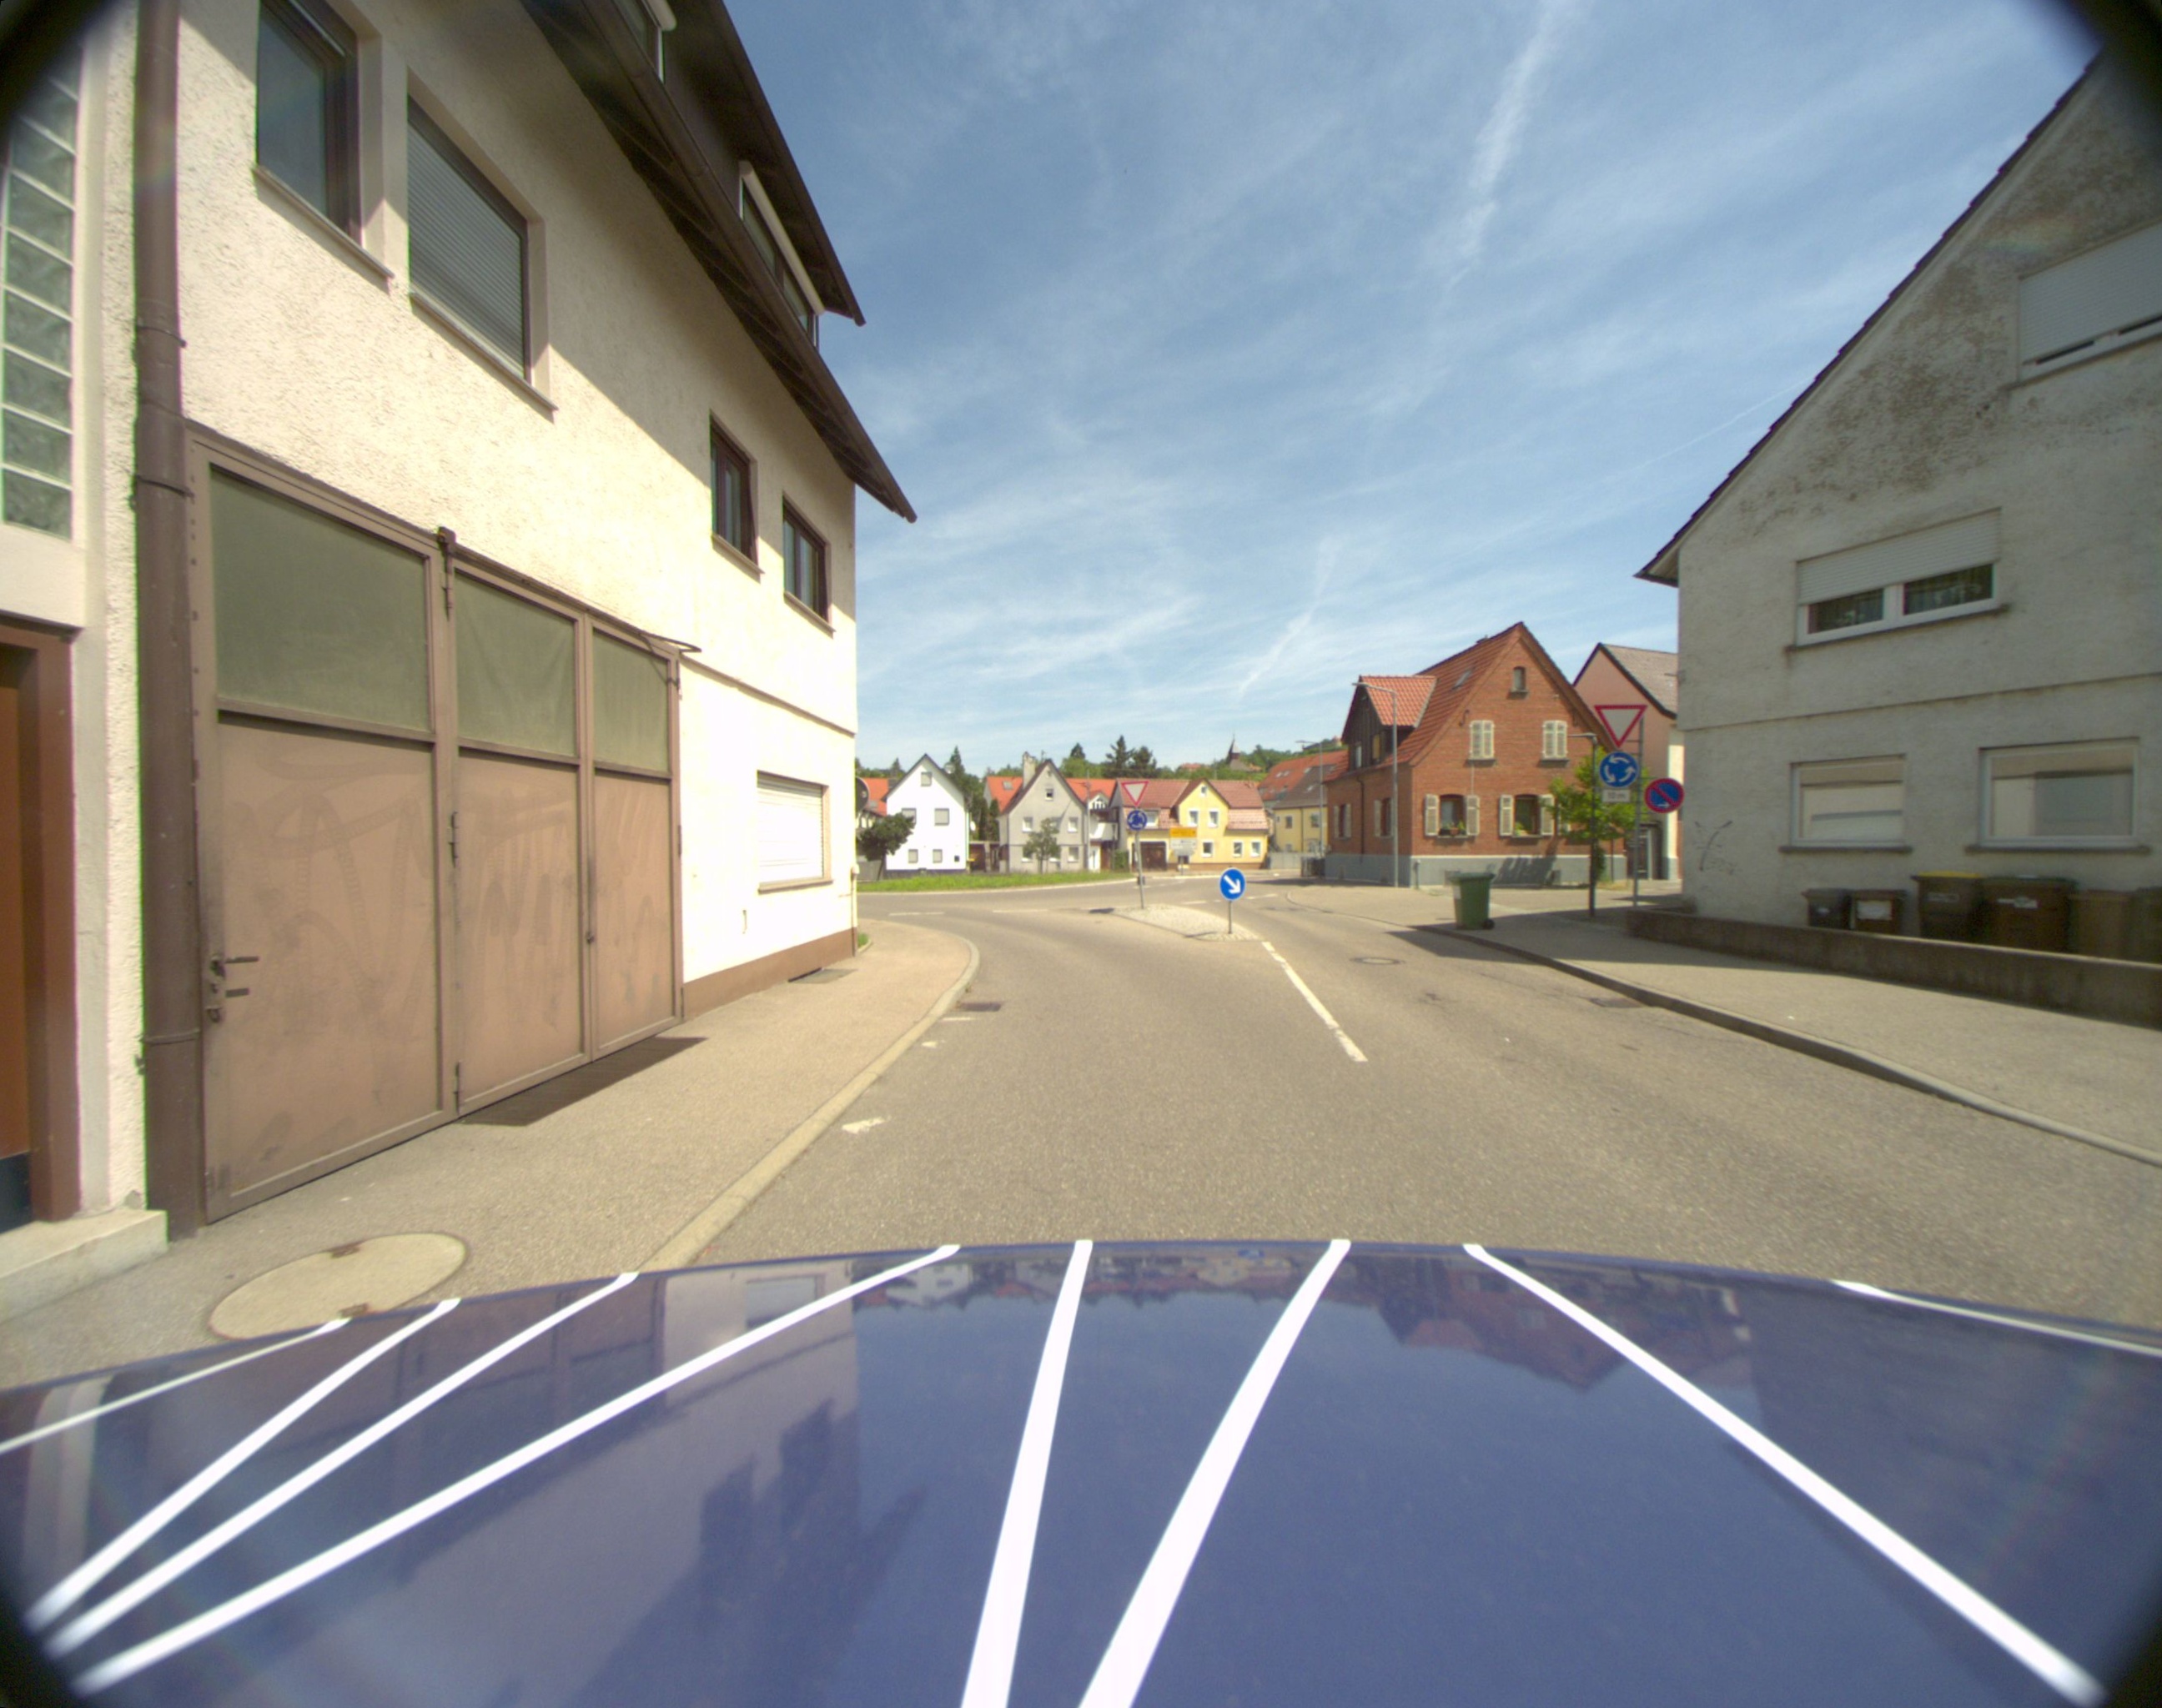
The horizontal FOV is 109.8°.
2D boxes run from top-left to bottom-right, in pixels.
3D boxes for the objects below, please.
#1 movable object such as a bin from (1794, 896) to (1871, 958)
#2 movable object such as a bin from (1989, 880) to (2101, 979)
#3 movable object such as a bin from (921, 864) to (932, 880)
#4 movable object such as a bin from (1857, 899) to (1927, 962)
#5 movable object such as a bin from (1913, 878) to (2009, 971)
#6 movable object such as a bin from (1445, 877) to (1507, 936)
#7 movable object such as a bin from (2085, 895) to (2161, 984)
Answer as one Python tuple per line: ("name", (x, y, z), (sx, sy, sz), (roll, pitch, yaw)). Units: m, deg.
("movable object such as a bin", (10.715, 1.022, 10.841), (0.487, 0.801, 0.645), (-2, 1, -25))
("movable object such as a bin", (11.449, 0.865, 9.029), (0.686, 1.080, 0.697), (-2, 1, -26))
("movable object such as a bin", (-10.341, 1.174, 50.726), (0.580, 1.042, 0.902), (-1, 0, -18))
("movable object such as a bin", (10.969, 1.024, 10.284), (0.487, 0.776, 0.526), (-2, 1, -26))
("movable object such as a bin", (11.152, 0.870, 9.637), (0.686, 1.080, 0.643), (-2, 1, -26))
("movable object such as a bin", (7.451, 0.977, 14.372), (0.810, 1.039, 0.827), (-1, 0, 10))
("movable object such as a bin", (11.771, 0.934, 8.396), (0.686, 0.891, 0.697), (-2, 1, -26))
